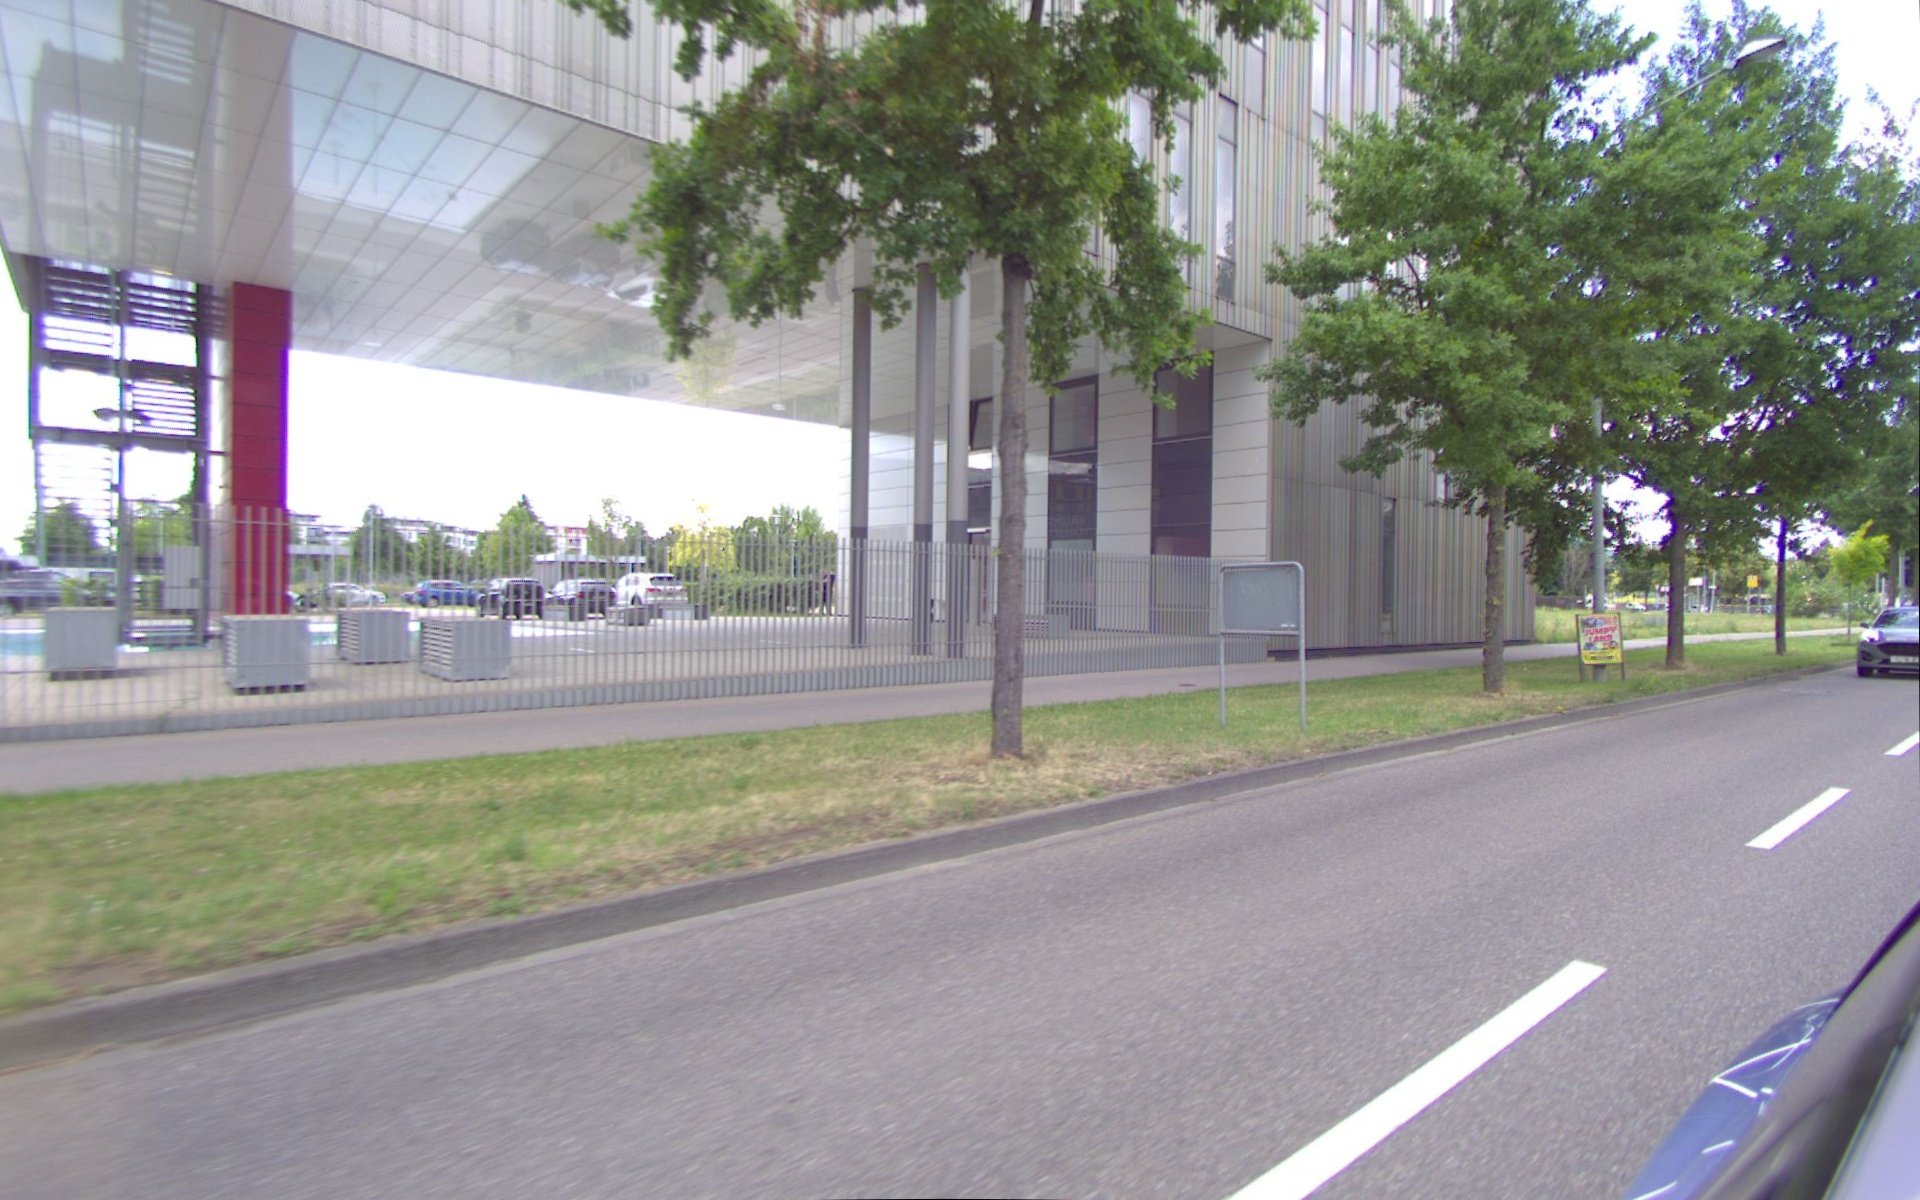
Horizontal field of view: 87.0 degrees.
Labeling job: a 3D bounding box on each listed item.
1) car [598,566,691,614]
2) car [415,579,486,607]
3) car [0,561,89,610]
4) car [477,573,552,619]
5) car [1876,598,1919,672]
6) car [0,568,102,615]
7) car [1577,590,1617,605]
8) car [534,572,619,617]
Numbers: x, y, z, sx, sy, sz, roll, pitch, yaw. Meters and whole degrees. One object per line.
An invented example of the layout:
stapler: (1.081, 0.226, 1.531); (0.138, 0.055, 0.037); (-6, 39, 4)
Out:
car: (-12.605, -0.376, 40.298); (1.965, 1.825, 4.306); (-2, 0, -41)
car: (-31.523, -0.428, 62.681); (3.607, 1.610, 1.869); (-2, 0, -40)
car: (-41.192, -0.610, 44.552); (4.237, 2.111, 1.997); (0, -1, -40)
car: (-16.227, -0.129, 36.765); (1.640, 1.573, 3.312); (-2, 0, -40)
car: (21.204, 0.719, 22.013); (4.026, 1.489, 1.671); (0, 1, -45)
car: (-39.223, -0.362, 42.943); (4.237, 1.896, 1.997); (-2, 0, -40)
car: (96.610, -0.387, 153.515); (5.044, 2.175, 2.153); (0, 0, -11)
car: (-14.505, -0.203, 38.155); (1.839, 1.610, 3.665); (-2, 0, -41)
